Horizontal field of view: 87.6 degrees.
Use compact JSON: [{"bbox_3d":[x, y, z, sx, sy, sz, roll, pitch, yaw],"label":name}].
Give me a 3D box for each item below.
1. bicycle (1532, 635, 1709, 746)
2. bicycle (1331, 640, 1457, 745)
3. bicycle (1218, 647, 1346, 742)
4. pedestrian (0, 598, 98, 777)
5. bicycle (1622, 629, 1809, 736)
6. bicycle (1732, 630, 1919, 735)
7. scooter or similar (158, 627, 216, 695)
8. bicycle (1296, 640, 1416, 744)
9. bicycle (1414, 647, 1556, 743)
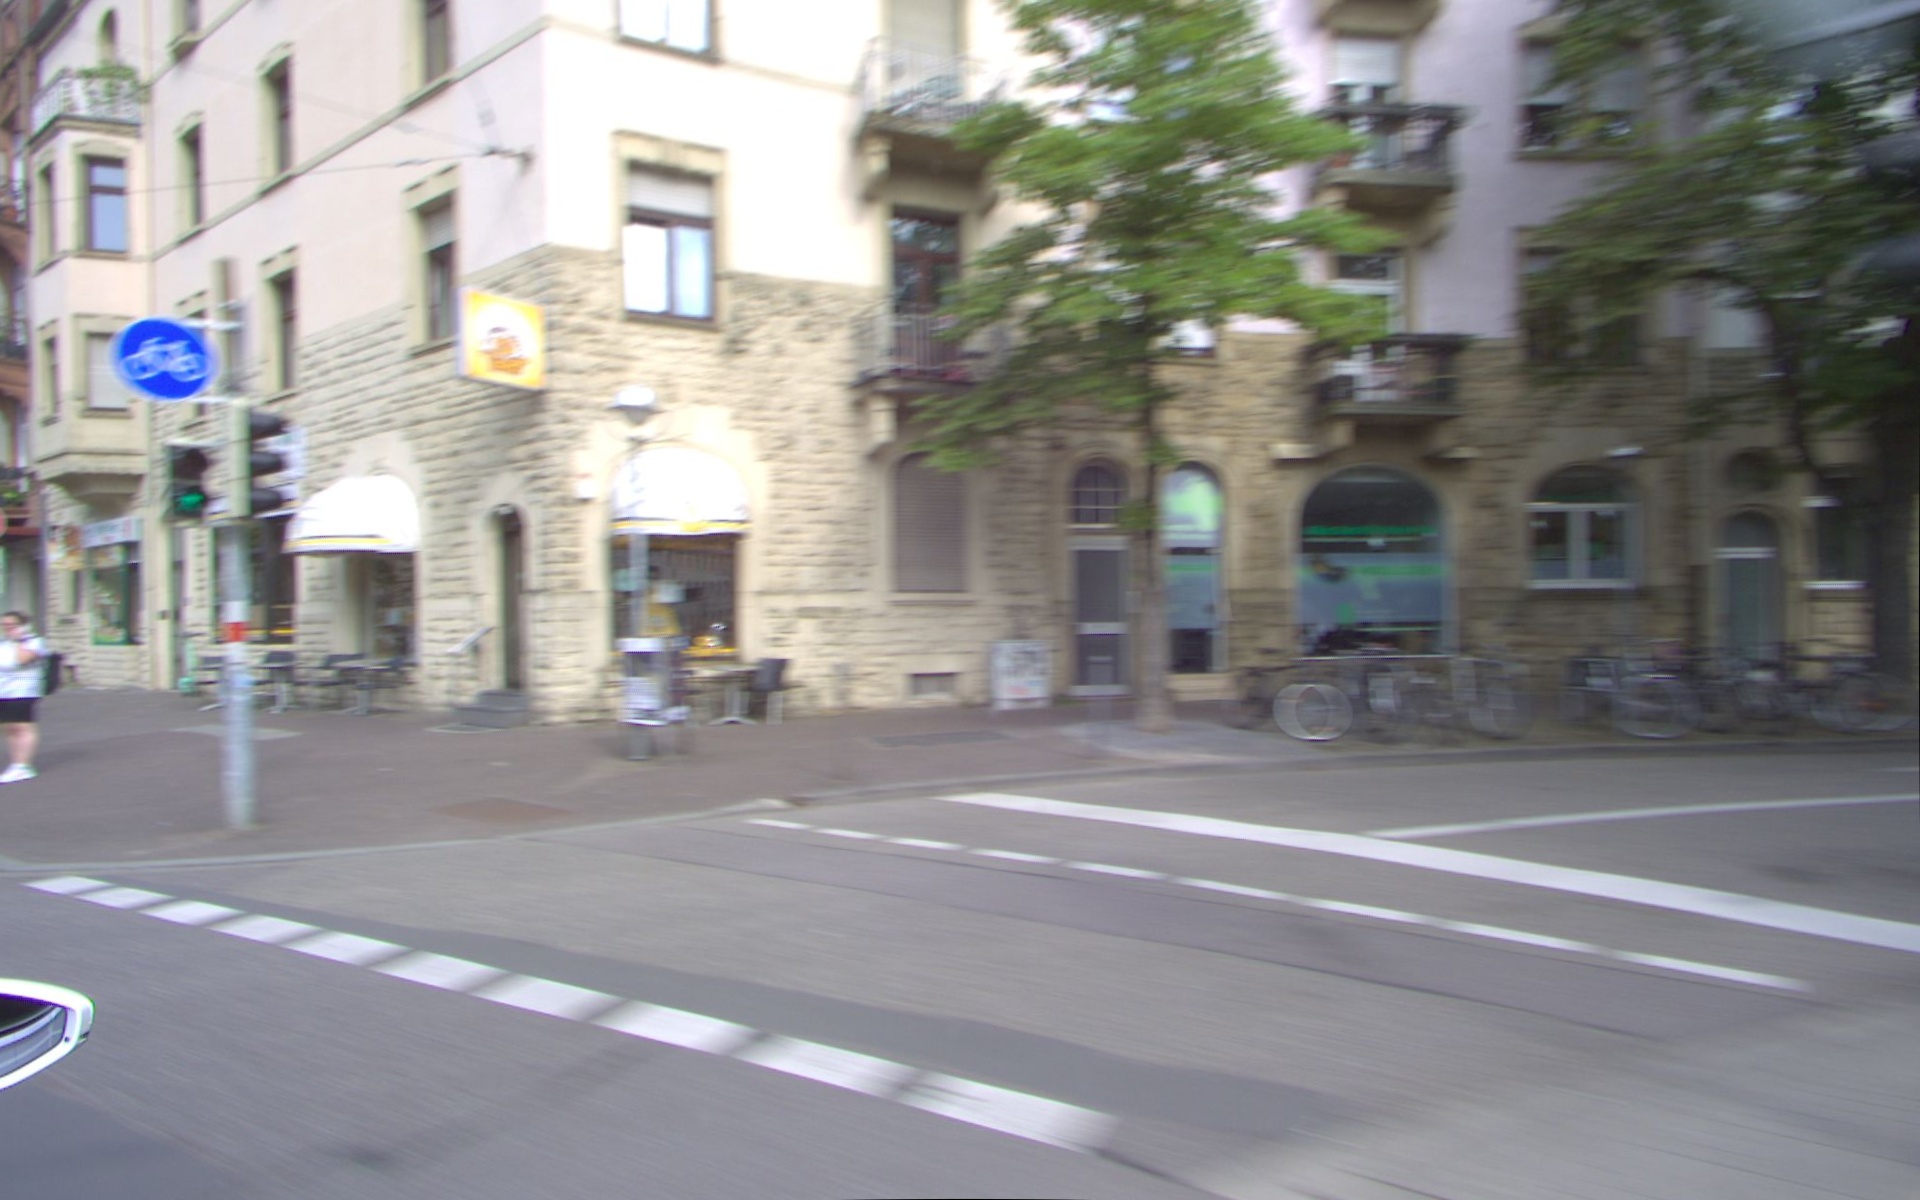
[{"bbox_3d":[7.635,0.999,11.692,0.523,1.142,1.892,-1,-1,-13],"label":"bicycle"},{"bbox_3d":[4.935,1.016,11.504,0.441,1.069,1.647,-1,-1,-13],"label":"bicycle"},{"bbox_3d":[3.739,1.068,11.769,0.592,0.985,1.669,-1,-1,-17],"label":"bicycle"},{"bbox_3d":[-9.442,0.857,10.083,0.719,1.698,0.834,-3,3,-8],"label":"pedestrian"},{"bbox_3d":[8.943,0.937,11.954,0.523,1.142,1.892,-1,-1,-13],"label":"bicycle"},{"bbox_3d":[10.519,0.946,12.114,0.655,1.142,1.892,-1,-1,-13],"label":"bicycle"},{"bbox_3d":[-14.296,1.114,18.515,1.245,1.204,0.507,-1,0,35],"label":"scooter or similar"},{"bbox_3d":[4.540,1.023,11.596,0.441,1.069,1.647,-1,-1,-13],"label":"bicycle"},{"bbox_3d":[6.077,1.066,11.694,0.523,0.985,1.647,-1,-1,-13],"label":"bicycle"}]
